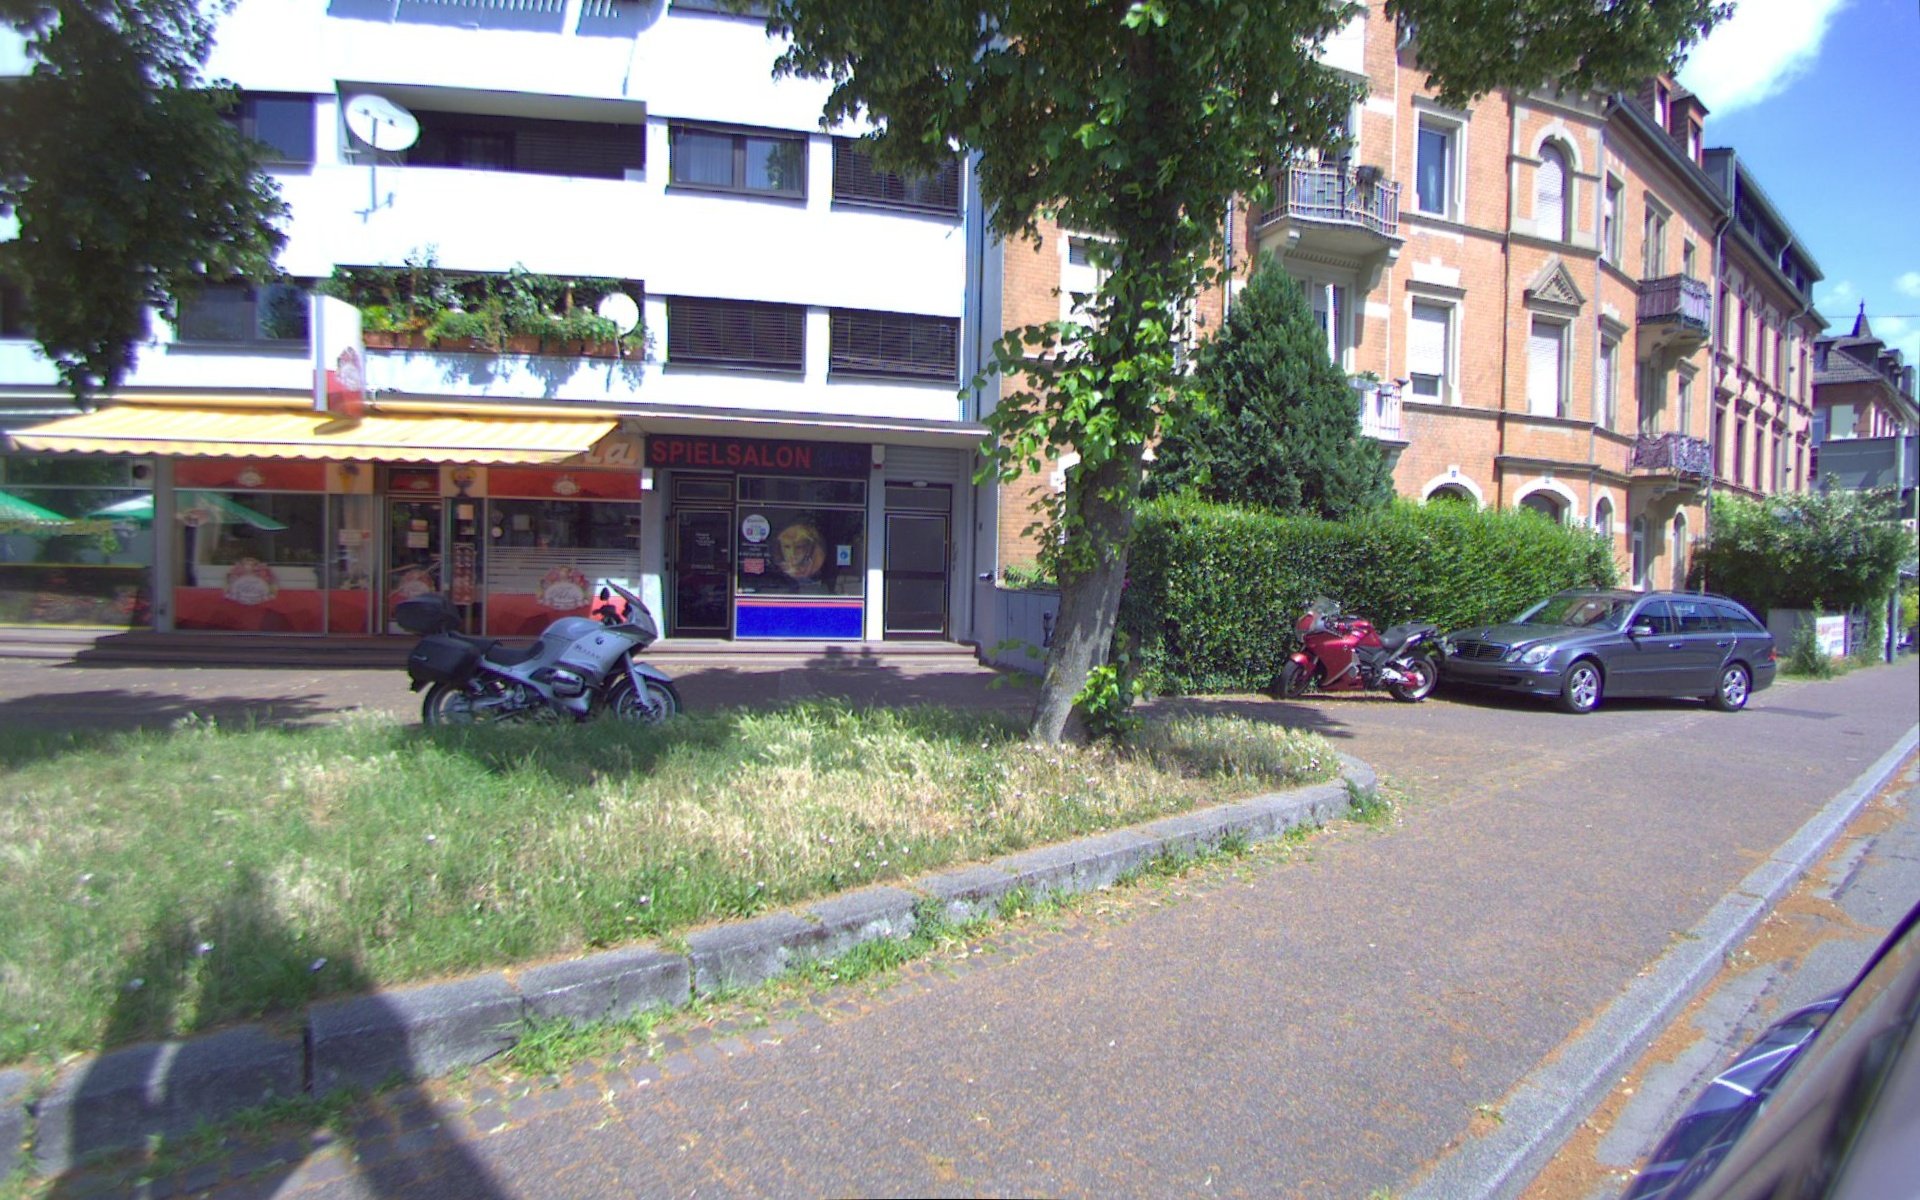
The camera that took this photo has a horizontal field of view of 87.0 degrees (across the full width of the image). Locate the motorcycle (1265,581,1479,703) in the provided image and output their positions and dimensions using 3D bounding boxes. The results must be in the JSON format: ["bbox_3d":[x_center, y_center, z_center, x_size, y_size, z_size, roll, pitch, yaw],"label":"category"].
[{"bbox_3d":[4.843,0.483,11.911,2.232,1.318,0.935,2,1,-21],"label":"motorcycle"}]

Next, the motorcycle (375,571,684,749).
[{"bbox_3d":[-3.389,0.447,8.218,2.178,1.329,0.920,0,0,-13],"label":"motorcycle"}]

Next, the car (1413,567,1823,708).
[{"bbox_3d":[8.539,0.465,13.108,5.048,1.567,1.844,2,1,-22],"label":"car"}]
